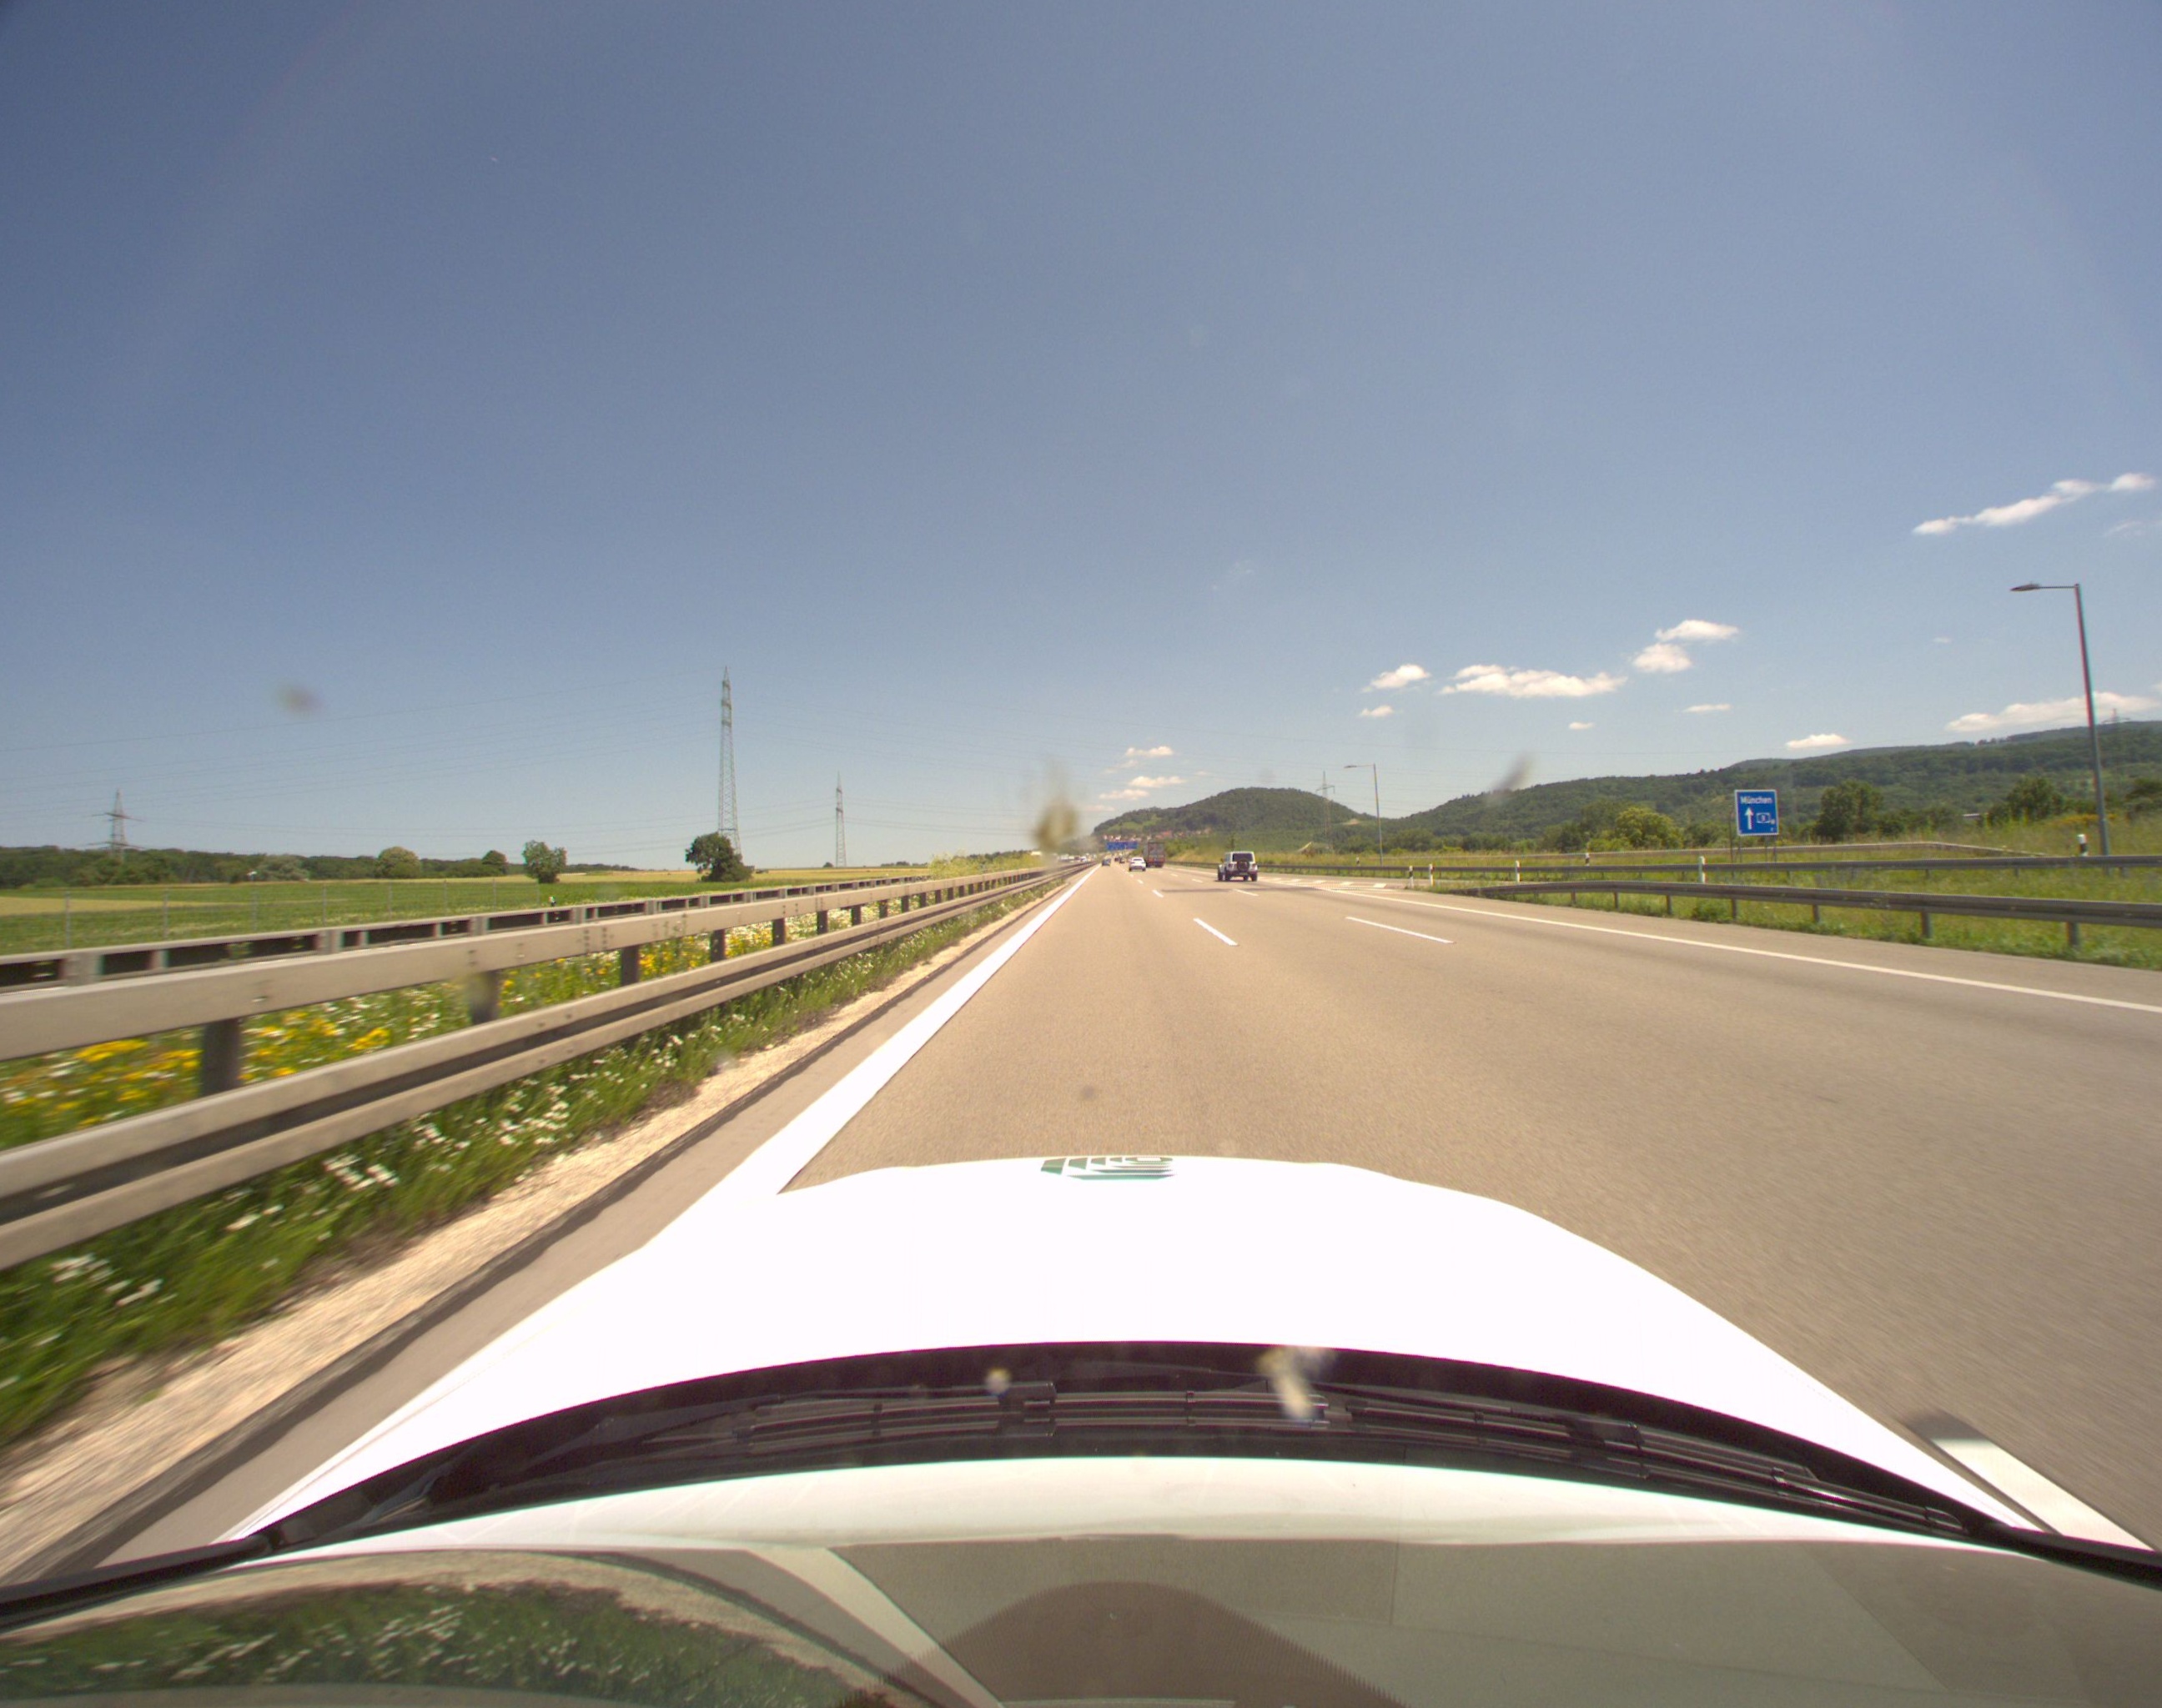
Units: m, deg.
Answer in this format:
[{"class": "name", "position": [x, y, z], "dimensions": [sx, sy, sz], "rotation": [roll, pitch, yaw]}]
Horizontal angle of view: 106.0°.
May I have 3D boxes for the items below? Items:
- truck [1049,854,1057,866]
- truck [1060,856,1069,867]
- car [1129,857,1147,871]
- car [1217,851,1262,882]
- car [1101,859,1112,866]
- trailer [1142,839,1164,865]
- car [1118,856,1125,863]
[{"class": "truck", "position": [-8.781, 1.973, 254.894], "dimensions": [2.711, 3.690, 6.050], "rotation": [0, -1, -3]}, {"class": "truck", "position": [-4.802, 2.109, 240.017], "dimensions": [2.241, 3.009, 7.431], "rotation": [-3, -1, 2]}, {"class": "car", "position": [6.778, 1.213, 96.553], "dimensions": [1.907, 1.581, 5.232], "rotation": [0, -1, 1]}, {"class": "car", "position": [9.917, 0.745, 51.390], "dimensions": [2.027, 1.804, 4.251], "rotation": [-2, 0, 1]}, {"class": "car", "position": [5.102, 1.744, 162.370], "dimensions": [1.986, 1.389, 4.002], "rotation": [0, -1, 2]}, {"class": "trailer", "position": [11.683, -0.267, 133.527], "dimensions": [2.716, 4.155, 11.807], "rotation": [0, -1, 0]}, {"class": "car", "position": [11.947, 1.759, 238.222], "dimensions": [1.986, 2.014, 4.002], "rotation": [0, -1, 2]}]
